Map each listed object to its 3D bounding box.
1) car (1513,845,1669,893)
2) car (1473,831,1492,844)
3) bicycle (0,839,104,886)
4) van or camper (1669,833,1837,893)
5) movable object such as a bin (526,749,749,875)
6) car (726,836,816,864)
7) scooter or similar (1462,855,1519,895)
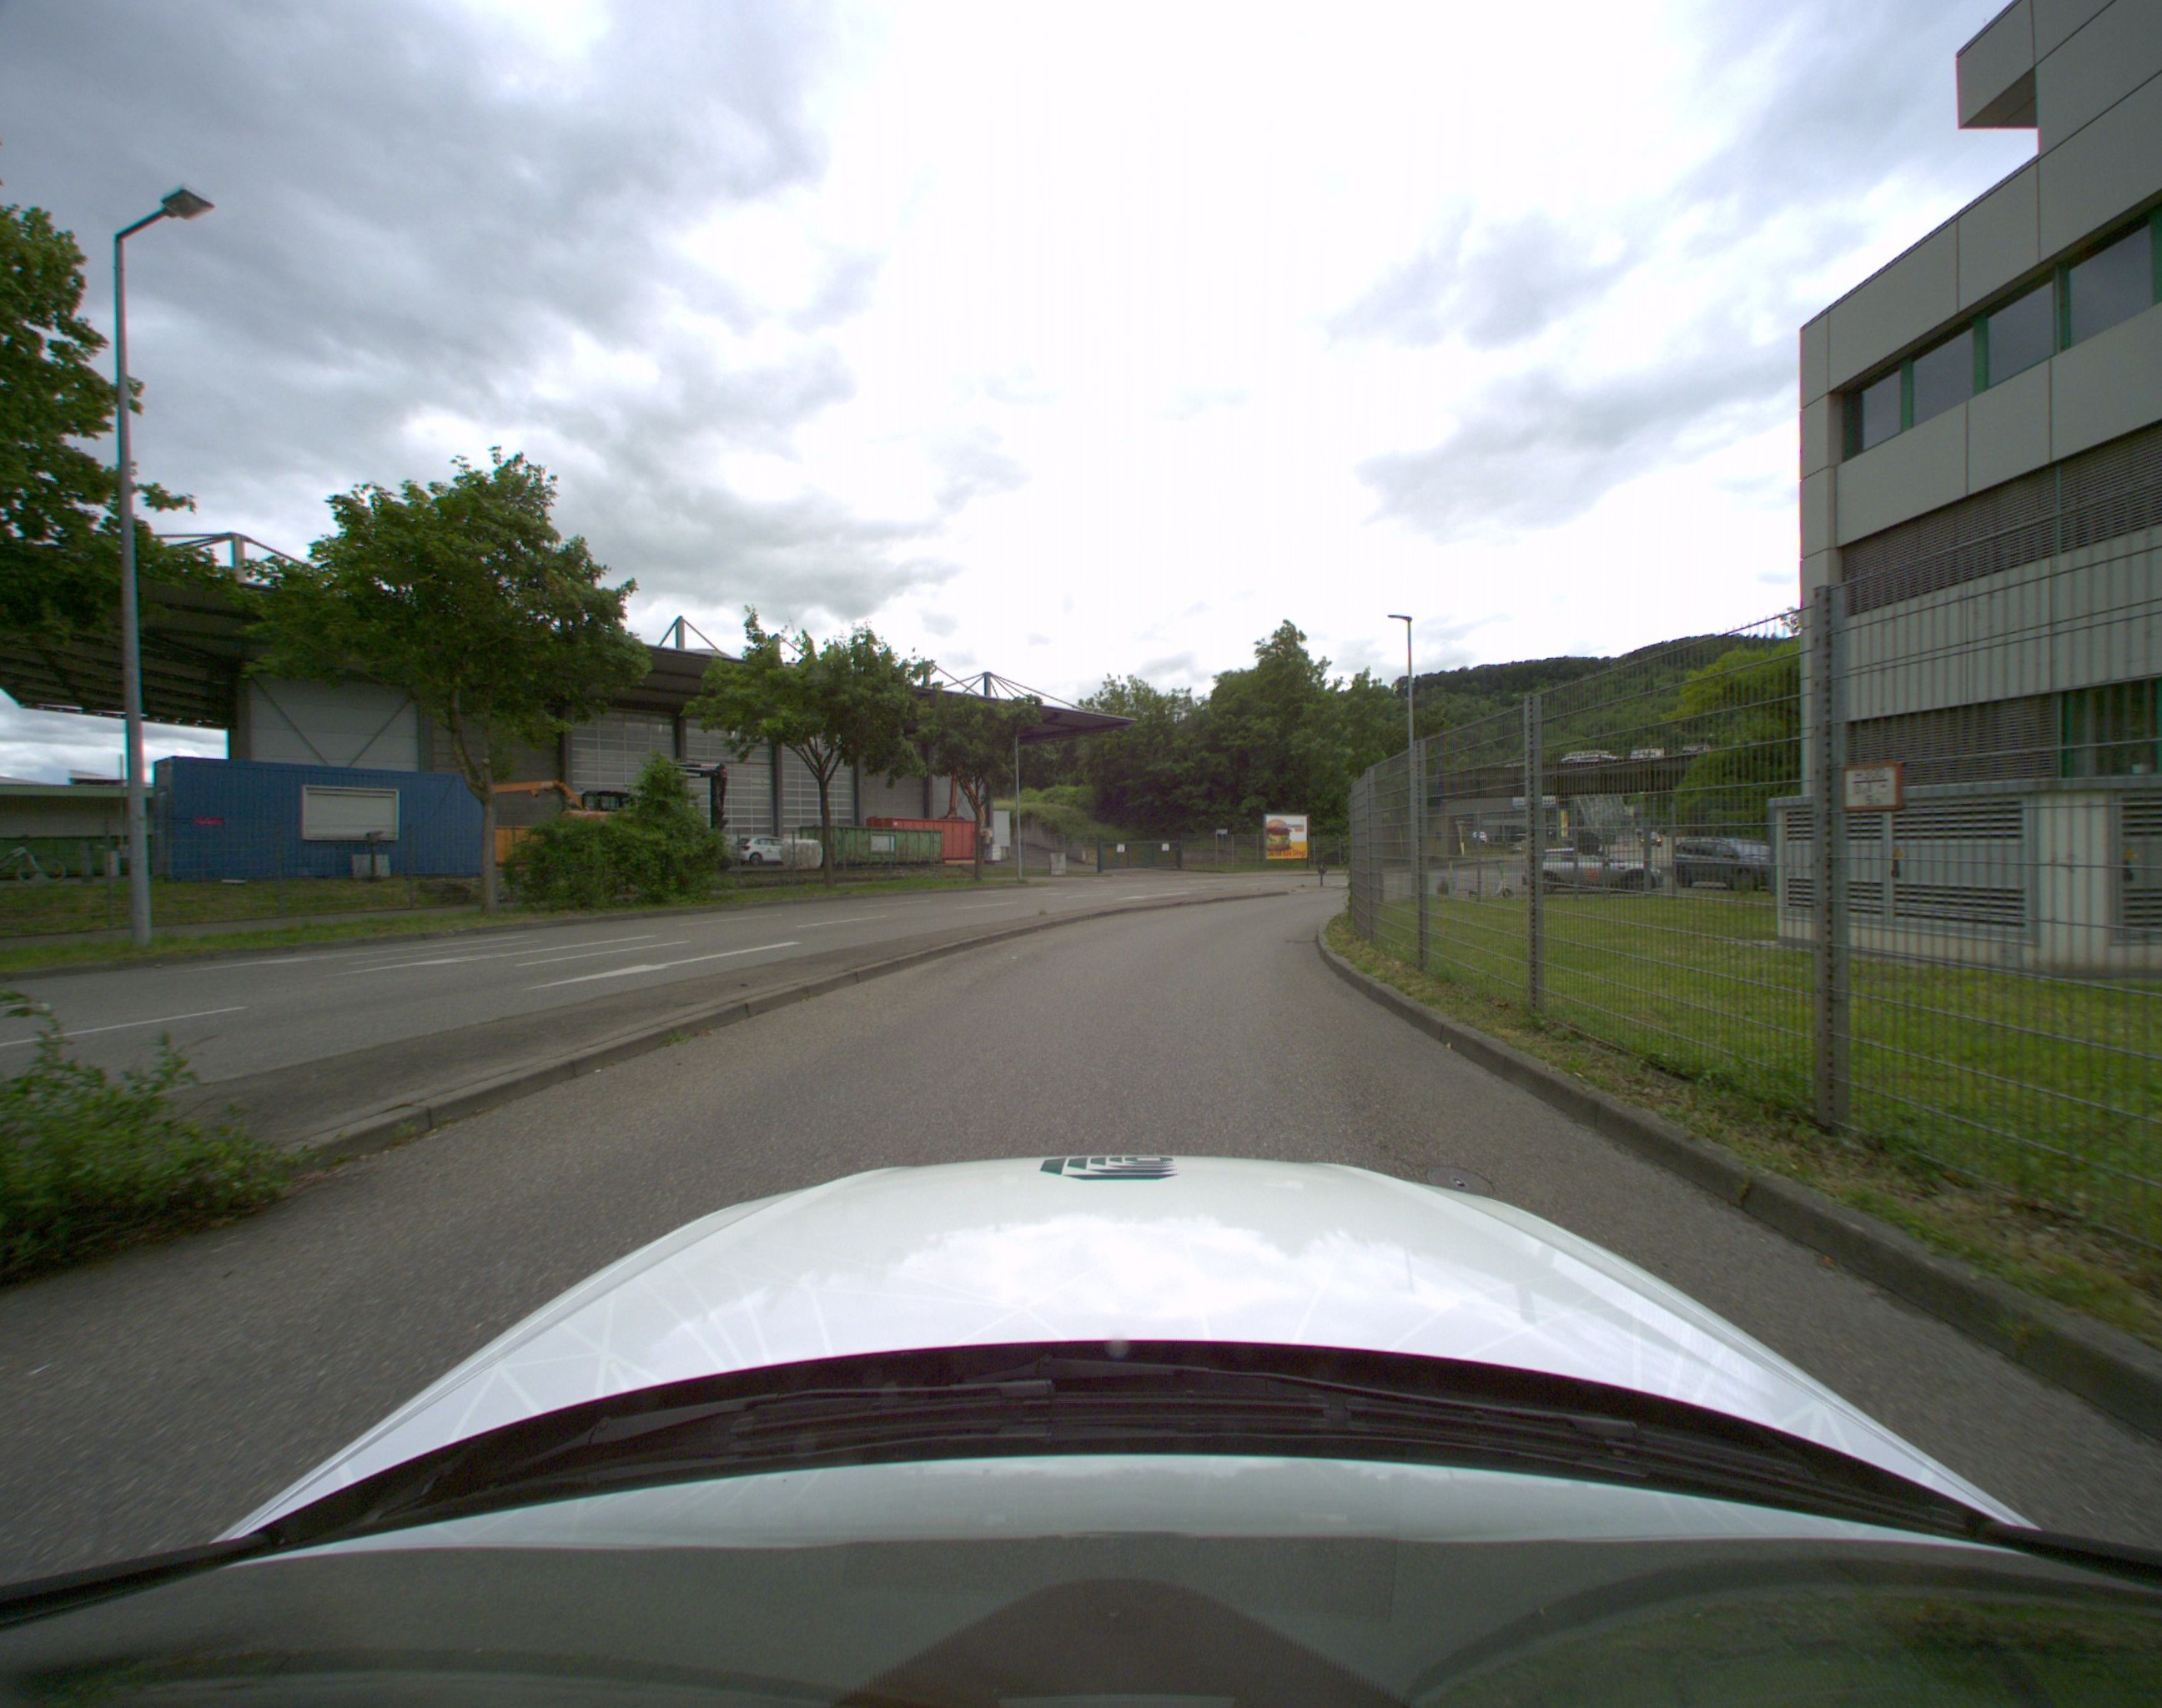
[{"bbox_3d":[16.009,0.472,25.805,3.971,1.432,1.796,-1,0,24],"label":"car"},{"bbox_3d":[47.826,-1.952,97.060,1.975,1.535,4.024,0,1,26],"label":"car"},{"bbox_3d":[-22.613,0.182,17.641,0.654,0.974,1.772,-1,1,34],"label":"bicycle"},{"bbox_3d":[20.476,0.225,25.094,1.817,1.694,4.514,0,1,6],"label":"van or camper"},{"bbox_3d":[-16.030,-1.436,29.937,2.698,4.091,6.595,-1,1,35],"label":"movable object such as a bin"},{"bbox_3d":[-15.936,-0.195,41.996,1.716,1.374,4.024,0,0,42],"label":"car"},{"bbox_3d":[12.068,0.621,24.009,0.483,1.133,1.403,-1,-1,-40],"label":"scooter or similar"}]
